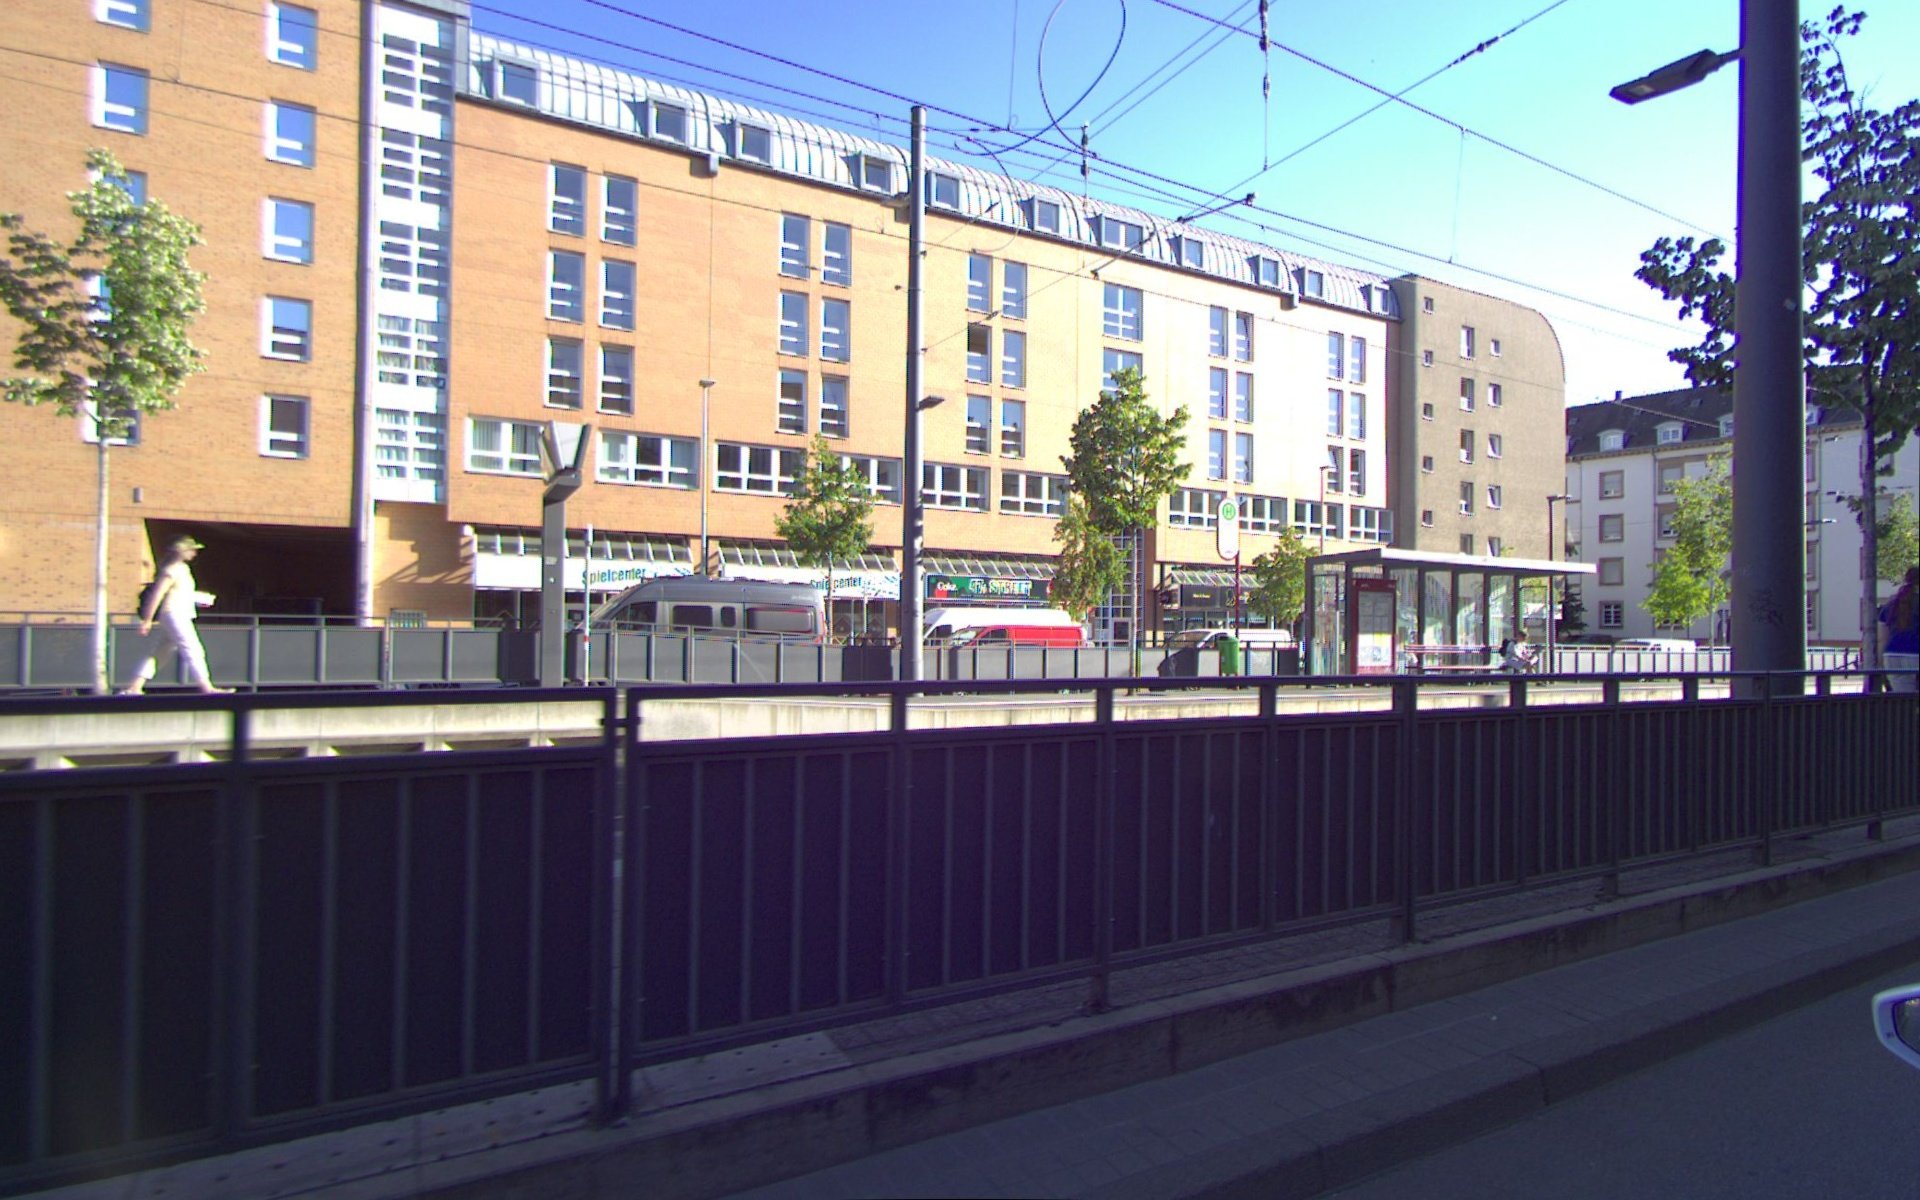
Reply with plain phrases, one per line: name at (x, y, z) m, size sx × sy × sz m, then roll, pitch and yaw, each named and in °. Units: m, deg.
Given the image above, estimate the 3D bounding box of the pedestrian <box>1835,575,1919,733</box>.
pedestrian at (9.365, 0.528, 10.028) m, size 0.817 × 1.503 × 0.680 m, roll 1°, pitch -1°, yaw -24°

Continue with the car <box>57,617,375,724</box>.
car at (-11.856, 1.070, 16.400) m, size 3.954 × 1.553 × 1.877 m, roll 1°, pitch -2°, yaw -31°

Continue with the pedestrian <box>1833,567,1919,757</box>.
pedestrian at (8.780, 0.566, 9.295) m, size 0.664 × 1.694 × 0.884 m, roll 2°, pitch -2°, yaw -30°

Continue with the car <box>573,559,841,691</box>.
car at (-5.051, 0.533, 20.215) m, size 4.861 × 2.389 × 2.036 m, roll 2°, pitch -2°, yaw -30°

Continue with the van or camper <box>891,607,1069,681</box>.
van or camper at (0.684, 1.375, 32.707) m, size 5.543 × 2.198 × 1.986 m, roll 0°, pitch -1°, yaw -27°

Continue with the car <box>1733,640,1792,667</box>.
car at (51.223, 3.364, 64.120) m, size 4.088 × 1.606 × 1.826 m, roll 1°, pitch -2°, yaw -34°

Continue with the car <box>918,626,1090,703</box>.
car at (1.196, 1.640, 26.814) m, size 4.266 × 1.891 × 1.877 m, roll 1°, pitch -1°, yaw -31°

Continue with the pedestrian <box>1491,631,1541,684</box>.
pedestrian at (12.939, 1.335, 23.373) m, size 0.895 × 1.205 × 0.670 m, roll 2°, pitch -2°, yaw -29°

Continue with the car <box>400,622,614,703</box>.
car at (-9.531, 1.250, 21.199) m, size 3.954 × 1.553 × 1.877 m, roll 1°, pitch -2°, yaw -31°

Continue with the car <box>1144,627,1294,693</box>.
car at (7.906, 1.769, 30.593) m, size 4.259 × 1.891 × 1.880 m, roll 1°, pitch -1°, yaw -26°

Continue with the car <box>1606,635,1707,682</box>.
car at (32.343, 2.682, 46.670) m, size 4.088 × 2.040 × 1.989 m, roll 0°, pitch -1°, yaw -23°

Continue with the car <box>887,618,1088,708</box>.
car at (0.648, 1.376, 23.003) m, size 4.263 × 1.891 × 1.878 m, roll 1°, pitch -1°, yaw -29°

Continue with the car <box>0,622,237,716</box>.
car at (-15.496, 1.180, 17.978) m, size 3.954 × 1.553 × 1.877 m, roll 1°, pitch -2°, yaw -31°

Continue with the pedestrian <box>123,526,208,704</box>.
pedestrian at (-7.937, 0.153, 10.057) m, size 0.570 × 1.706 × 0.673 m, roll 2°, pitch -2°, yaw -34°

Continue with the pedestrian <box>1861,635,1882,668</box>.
pedestrian at (56.362, 3.169, 62.093) m, size 0.617 × 2.040 × 0.797 m, roll 0°, pitch -1°, yaw -28°
